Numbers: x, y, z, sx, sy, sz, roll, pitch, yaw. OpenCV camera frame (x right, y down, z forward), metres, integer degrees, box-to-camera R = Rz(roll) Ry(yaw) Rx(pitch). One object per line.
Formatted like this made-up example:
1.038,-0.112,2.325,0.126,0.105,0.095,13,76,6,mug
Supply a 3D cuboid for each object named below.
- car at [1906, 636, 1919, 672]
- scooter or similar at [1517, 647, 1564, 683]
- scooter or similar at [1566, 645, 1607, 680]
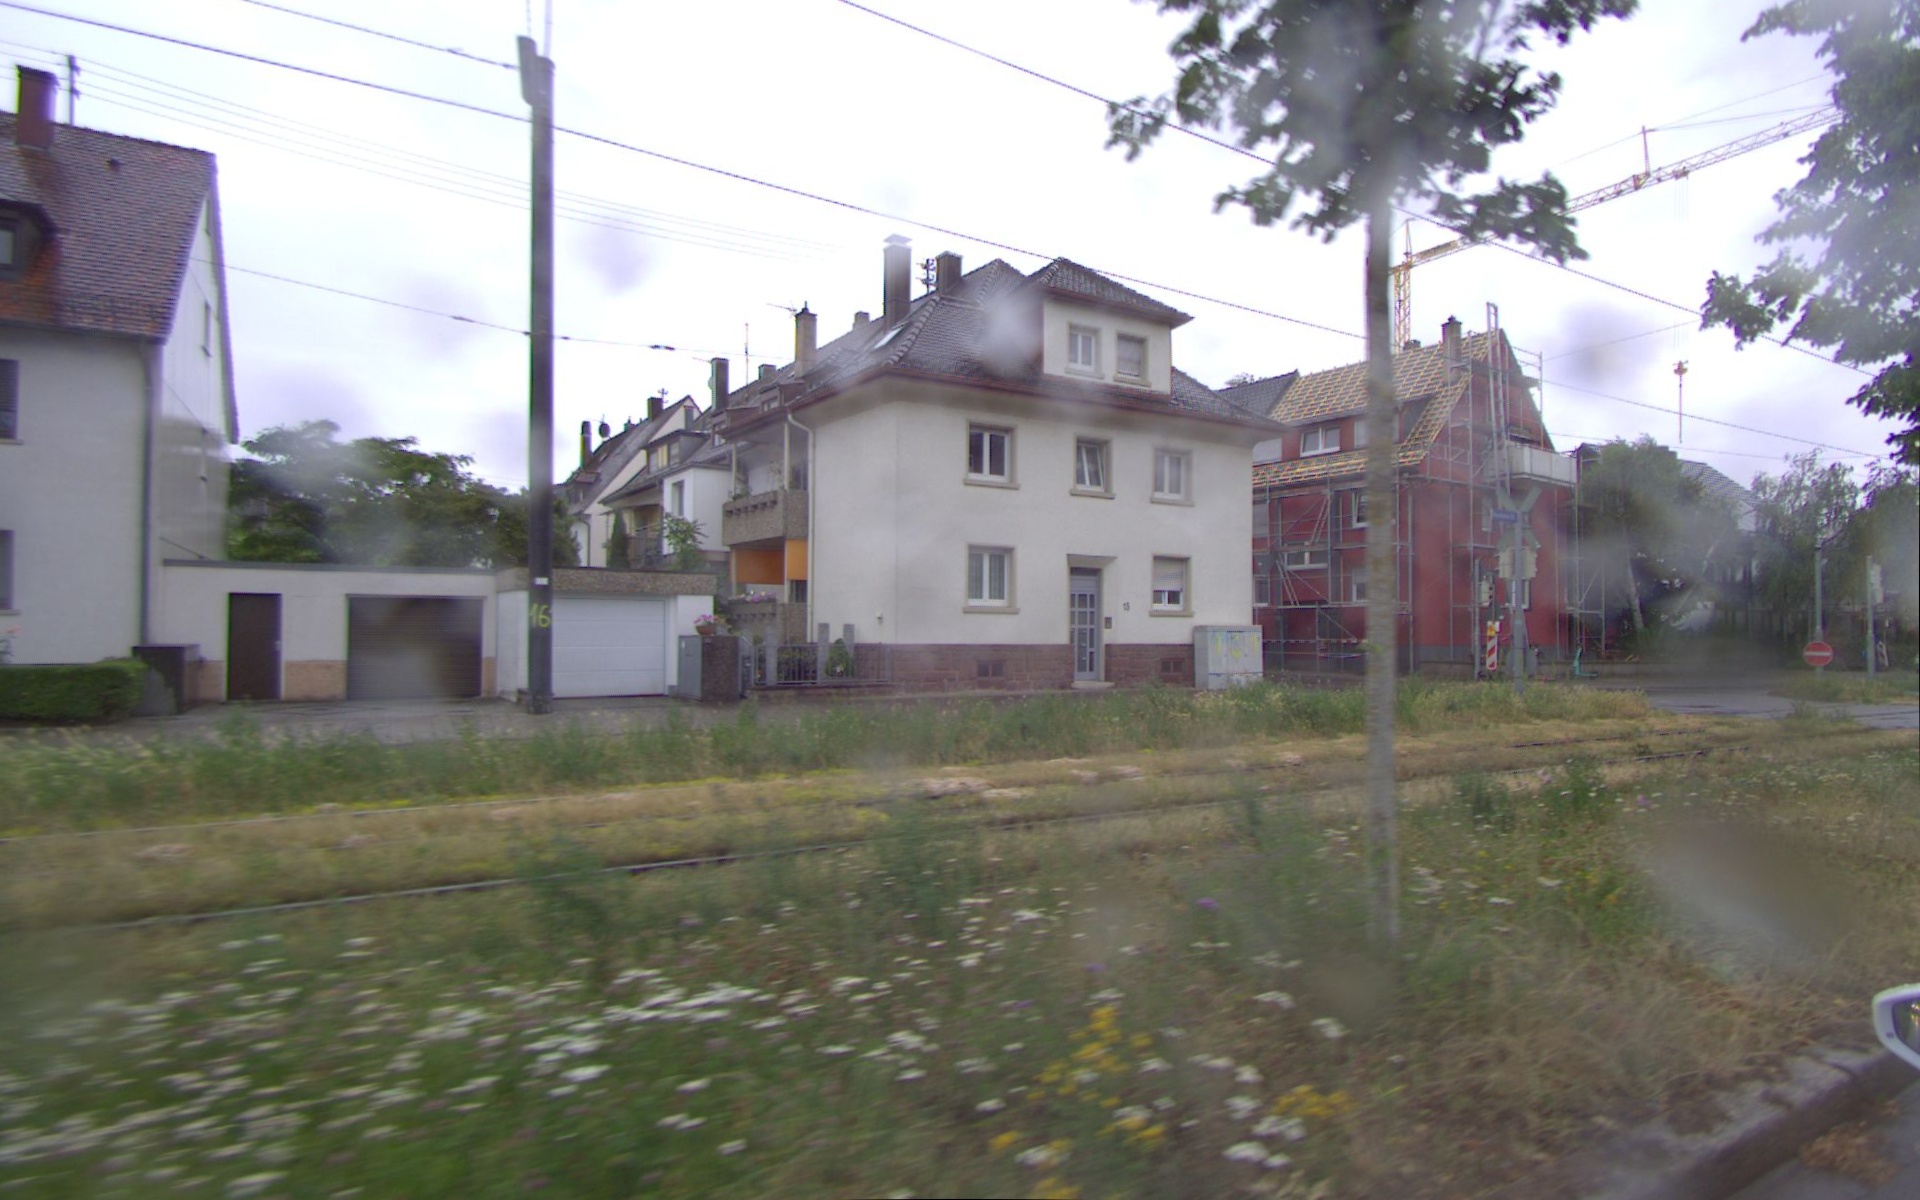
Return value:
44.595,2.448,45.110,4.365,1.563,1.703,1,0,-28,car
18.765,2.101,32.474,1.257,1.144,0.441,0,-2,1,scooter or similar
21.324,2.126,34.184,1.261,1.196,0.394,1,-2,-14,scooter or similar
